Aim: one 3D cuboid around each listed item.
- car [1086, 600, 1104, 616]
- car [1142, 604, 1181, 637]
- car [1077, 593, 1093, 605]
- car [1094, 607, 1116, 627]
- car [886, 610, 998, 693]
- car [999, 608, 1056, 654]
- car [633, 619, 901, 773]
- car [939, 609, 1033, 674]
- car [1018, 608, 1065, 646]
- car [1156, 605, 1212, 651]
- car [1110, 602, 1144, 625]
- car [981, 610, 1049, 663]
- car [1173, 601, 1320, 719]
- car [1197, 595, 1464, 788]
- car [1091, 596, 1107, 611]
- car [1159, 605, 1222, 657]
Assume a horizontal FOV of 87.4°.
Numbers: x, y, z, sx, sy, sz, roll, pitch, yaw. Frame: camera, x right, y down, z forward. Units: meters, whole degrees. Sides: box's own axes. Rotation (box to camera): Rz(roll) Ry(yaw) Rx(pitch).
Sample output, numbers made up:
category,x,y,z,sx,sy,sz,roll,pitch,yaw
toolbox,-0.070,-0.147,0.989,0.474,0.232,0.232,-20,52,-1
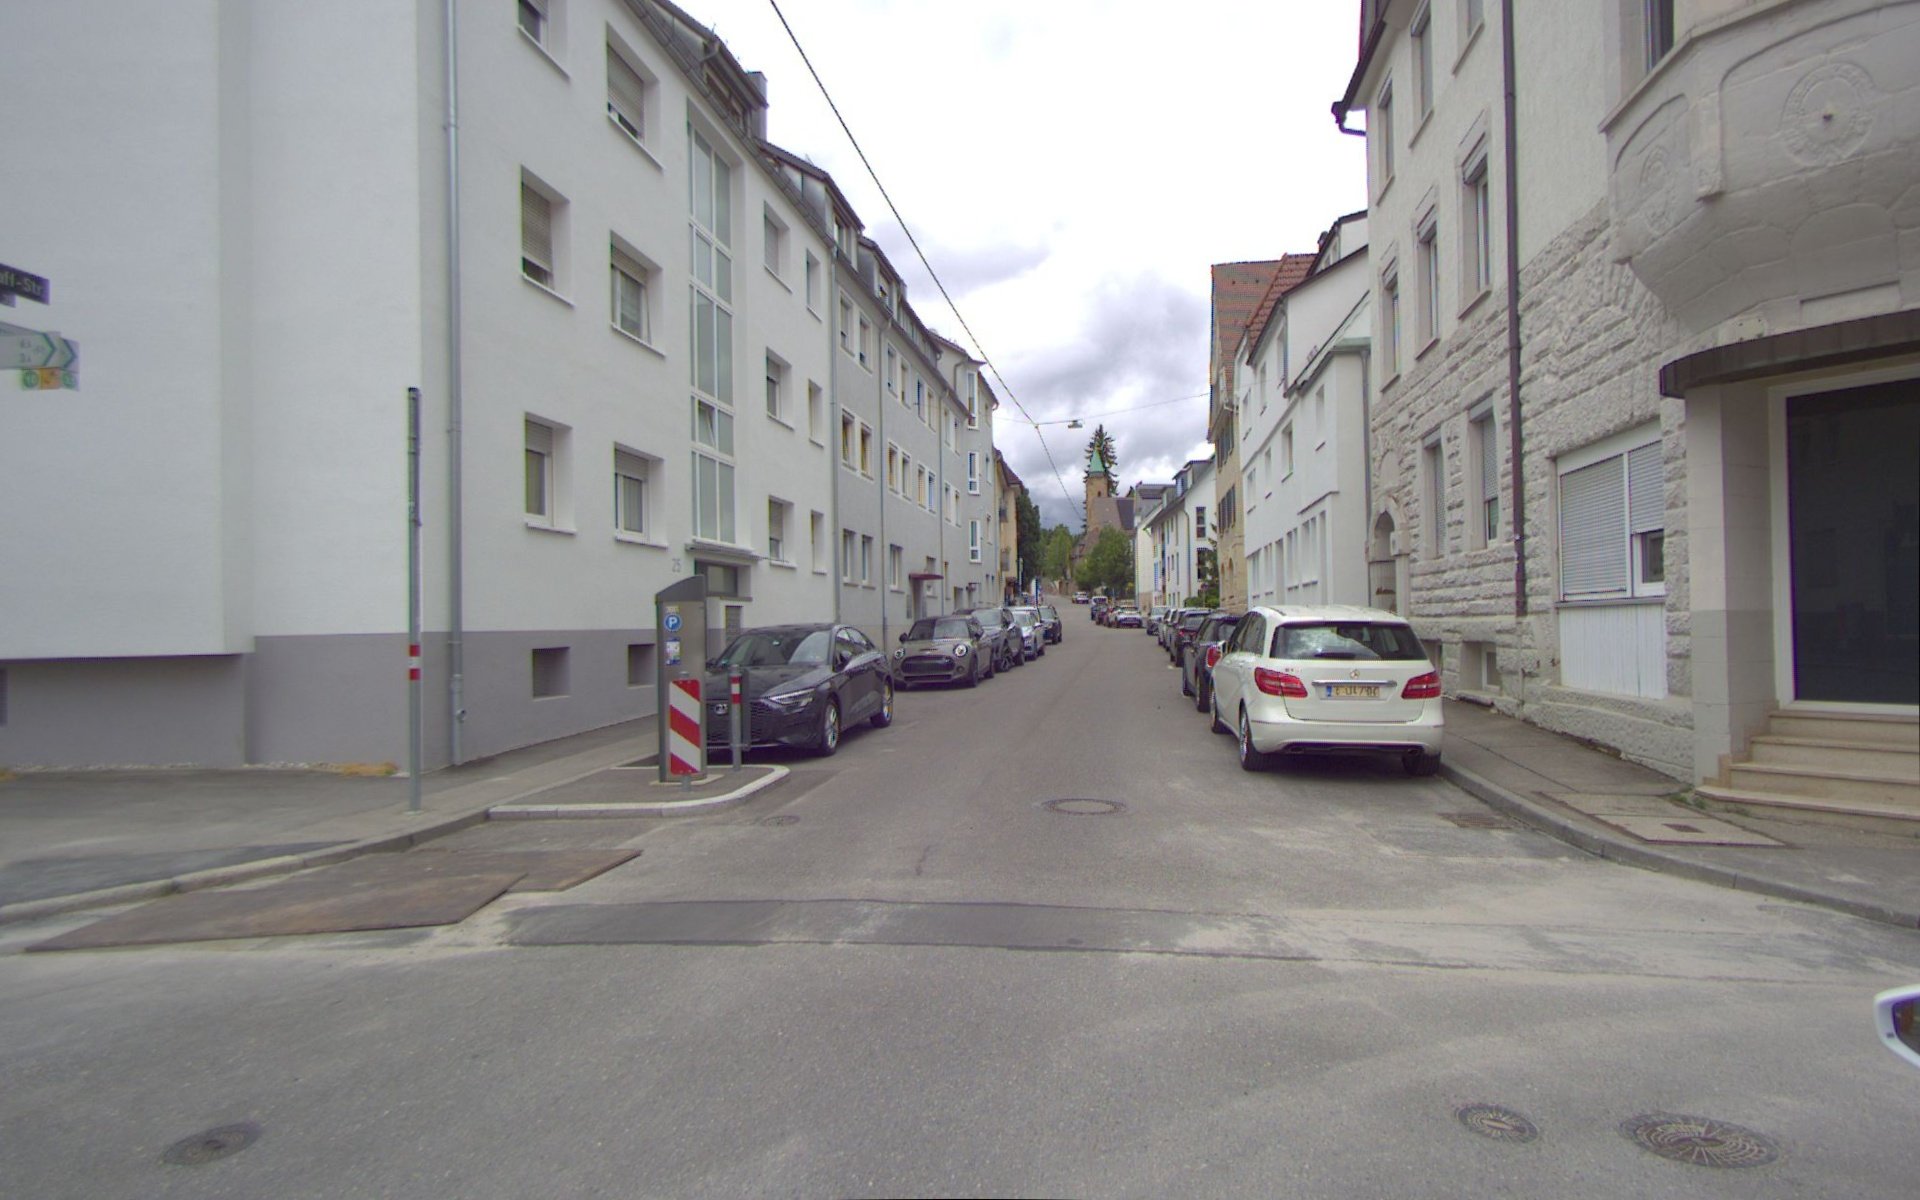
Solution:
category,x,y,z,sx,sy,sz,roll,pitch,yaw
car,12.953,0.739,96.321,1.639,1.499,3.628,0,0,7
car,9.915,0.999,49.538,1.639,1.499,3.628,1,1,7
car,18.263,-0.221,146.856,2.145,1.716,3.626,-1,0,3
car,11.373,1.320,78.769,1.639,1.499,3.628,0,0,7
car,-0.281,1.002,20.965,1.701,1.509,3.721,-2,0,8
car,2.443,1.072,35.604,1.701,1.467,3.721,-2,0,8
car,-2.038,0.996,12.007,1.789,1.410,4.300,-2,0,8
car,0.737,1.009,25.659,1.701,1.489,3.721,-2,0,12
car,3.475,1.098,42.261,1.701,1.467,3.721,-2,0,8
car,8.069,0.971,36.396,1.639,1.499,3.628,1,1,7
car,11.284,0.909,68.094,1.754,1.499,3.626,-1,0,1
car,1.738,1.070,30.756,1.701,1.467,3.721,-2,0,8
car,4.359,0.824,15.834,1.639,1.553,4.029,1,1,7
car,3.659,0.788,10.679,1.789,1.620,4.029,1,0,7
car,14.908,0.345,107.566,1.639,1.499,3.628,0,0,7
car,7.350,0.937,32.308,1.639,1.499,3.628,1,1,7
